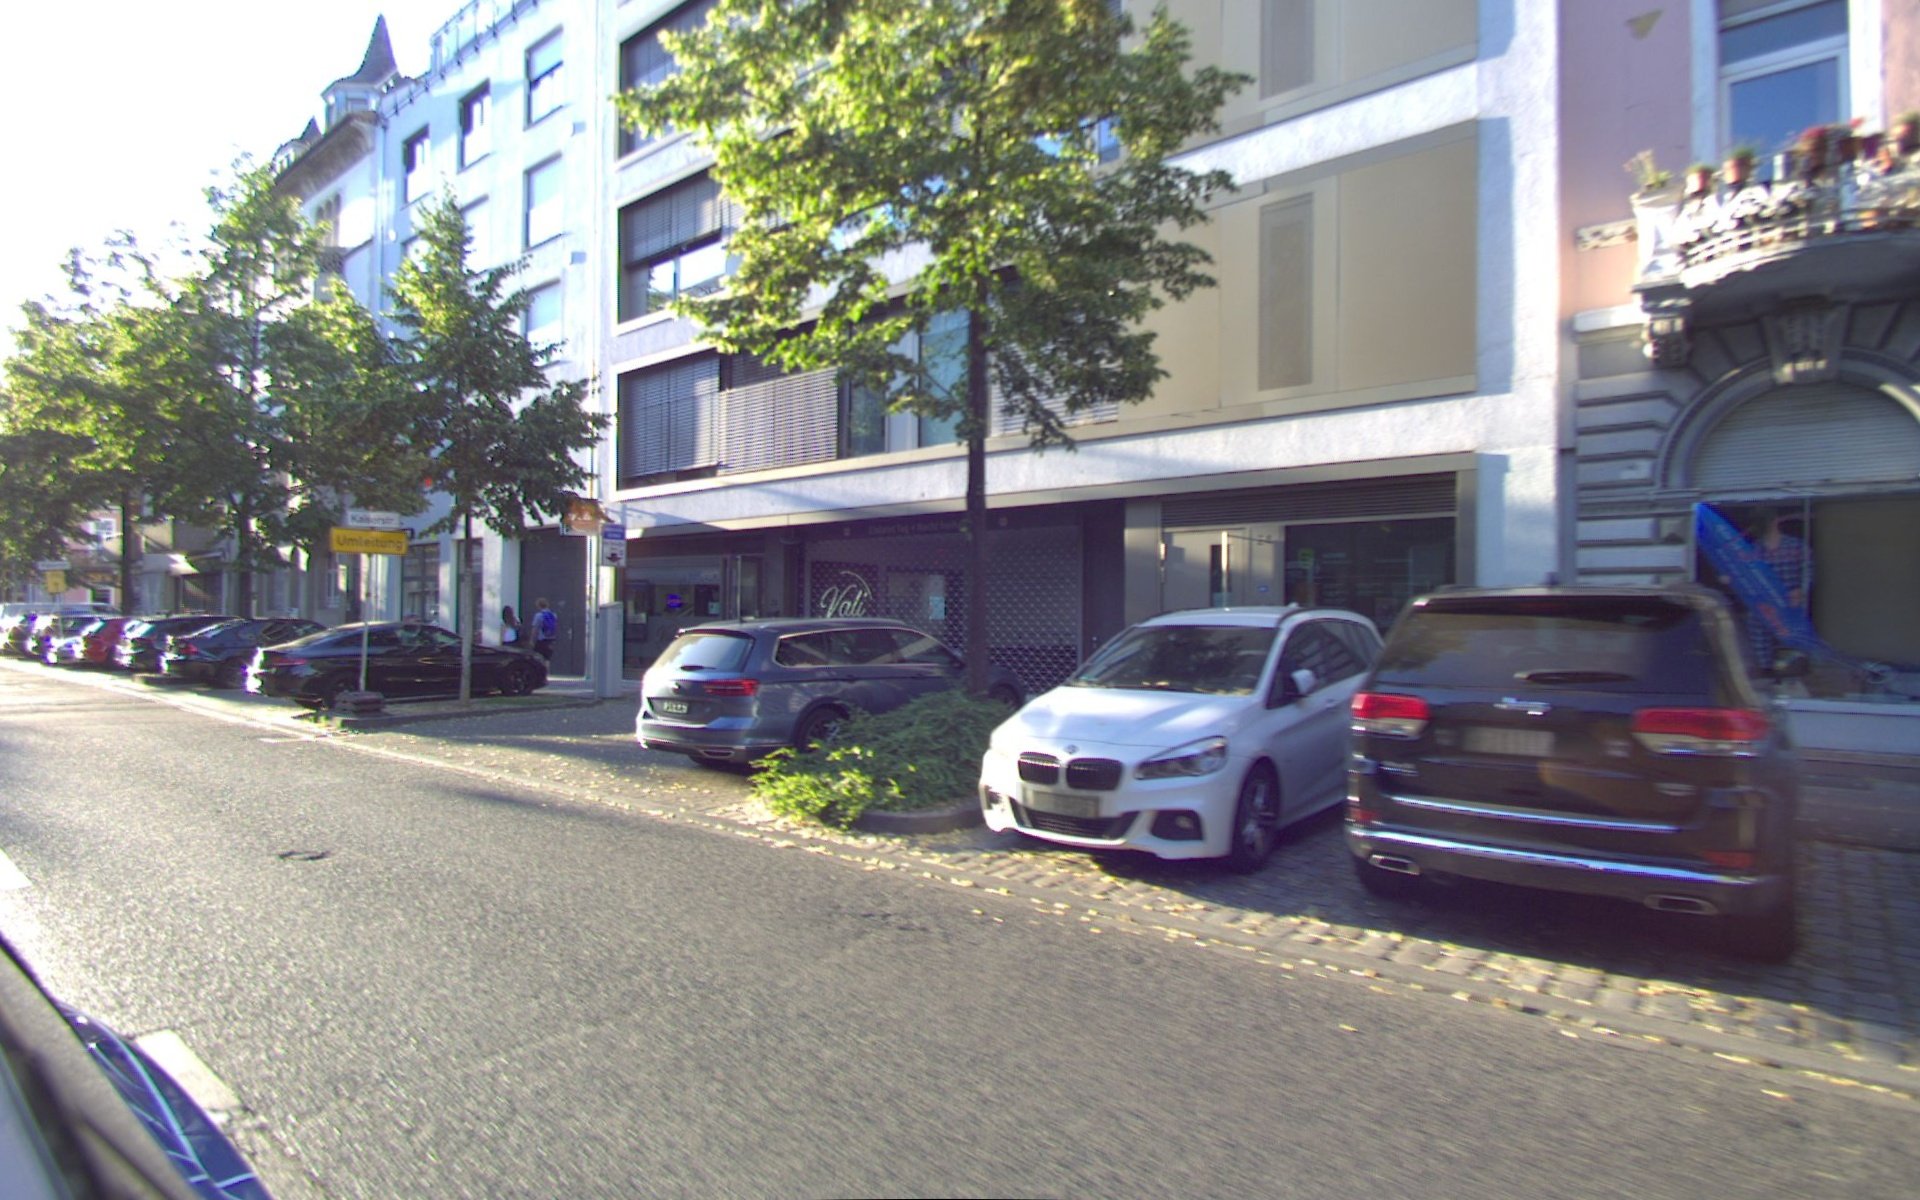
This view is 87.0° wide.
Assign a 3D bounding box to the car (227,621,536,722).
[{"bbox_3d":[-9.659,1.104,17.192,1.743,1.495,4.231,-1,-2,40],"label":"car"}]

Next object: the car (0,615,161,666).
[{"bbox_3d":[-30.814,1.375,35.513,1.732,1.681,4.138,0,-1,42],"label":"car"}]

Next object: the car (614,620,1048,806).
[{"bbox_3d":[-1.088,0.957,10.482,1.743,1.495,4.502,-1,-2,40],"label":"car"}]

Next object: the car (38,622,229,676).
[{"bbox_3d":[-23.810,1.367,29.285,1.741,1.397,4.004,-2,-1,36],"label":"car"}]

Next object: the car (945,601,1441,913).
[{"bbox_3d":[2.002,0.835,7.531,1.888,1.608,4.363,-2,-1,39],"label":"car"}]

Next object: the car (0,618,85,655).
[{"bbox_3d":[-41.047,1.575,43.962,1.812,1.536,4.384,-1,-1,39],"label":"car"}]

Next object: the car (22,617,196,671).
[{"bbox_3d":[-27.049,1.338,32.257,4.135,1.548,1.745,0,0,-45],"label":"car"}]

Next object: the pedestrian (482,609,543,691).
[{"bbox_3d":[-9.205,1.004,20.794,1.094,1.614,0.712,-1,0,40],"label":"pedestrian"}]

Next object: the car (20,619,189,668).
[{"bbox_3d":[-28.851,1.424,34.235,1.731,1.453,4.141,0,0,40],"label":"car"}]

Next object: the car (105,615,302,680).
[{"bbox_3d":[-19.749,1.188,26.556,1.742,1.579,3.829,-1,-1,37],"label":"car"}]

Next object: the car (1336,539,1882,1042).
[{"bbox_3d":[3.770,0.693,5.822,1.887,1.786,4.110,-1,-1,37],"label":"car"}]

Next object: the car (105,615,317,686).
[{"bbox_3d":[-18.192,1.171,24.715,1.742,1.579,3.829,-1,-1,37],"label":"car"}]

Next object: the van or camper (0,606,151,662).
[{"bbox_3d":[-32.936,1.245,37.463,1.788,1.971,4.412,-1,-2,41],"label":"van or camper"}]

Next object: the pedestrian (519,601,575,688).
[{"bbox_3d":[-8.687,0.919,21.275,0.933,1.762,0.712,-1,0,40],"label":"pedestrian"}]

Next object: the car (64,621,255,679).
[{"bbox_3d":[-21.979,1.333,27.903,1.742,1.468,3.829,-1,-1,37],"label":"car"}]

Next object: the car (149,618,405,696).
[{"bbox_3d":[-14.498,1.148,21.710,1.742,1.495,4.234,-1,-1,37],"label":"car"}]
